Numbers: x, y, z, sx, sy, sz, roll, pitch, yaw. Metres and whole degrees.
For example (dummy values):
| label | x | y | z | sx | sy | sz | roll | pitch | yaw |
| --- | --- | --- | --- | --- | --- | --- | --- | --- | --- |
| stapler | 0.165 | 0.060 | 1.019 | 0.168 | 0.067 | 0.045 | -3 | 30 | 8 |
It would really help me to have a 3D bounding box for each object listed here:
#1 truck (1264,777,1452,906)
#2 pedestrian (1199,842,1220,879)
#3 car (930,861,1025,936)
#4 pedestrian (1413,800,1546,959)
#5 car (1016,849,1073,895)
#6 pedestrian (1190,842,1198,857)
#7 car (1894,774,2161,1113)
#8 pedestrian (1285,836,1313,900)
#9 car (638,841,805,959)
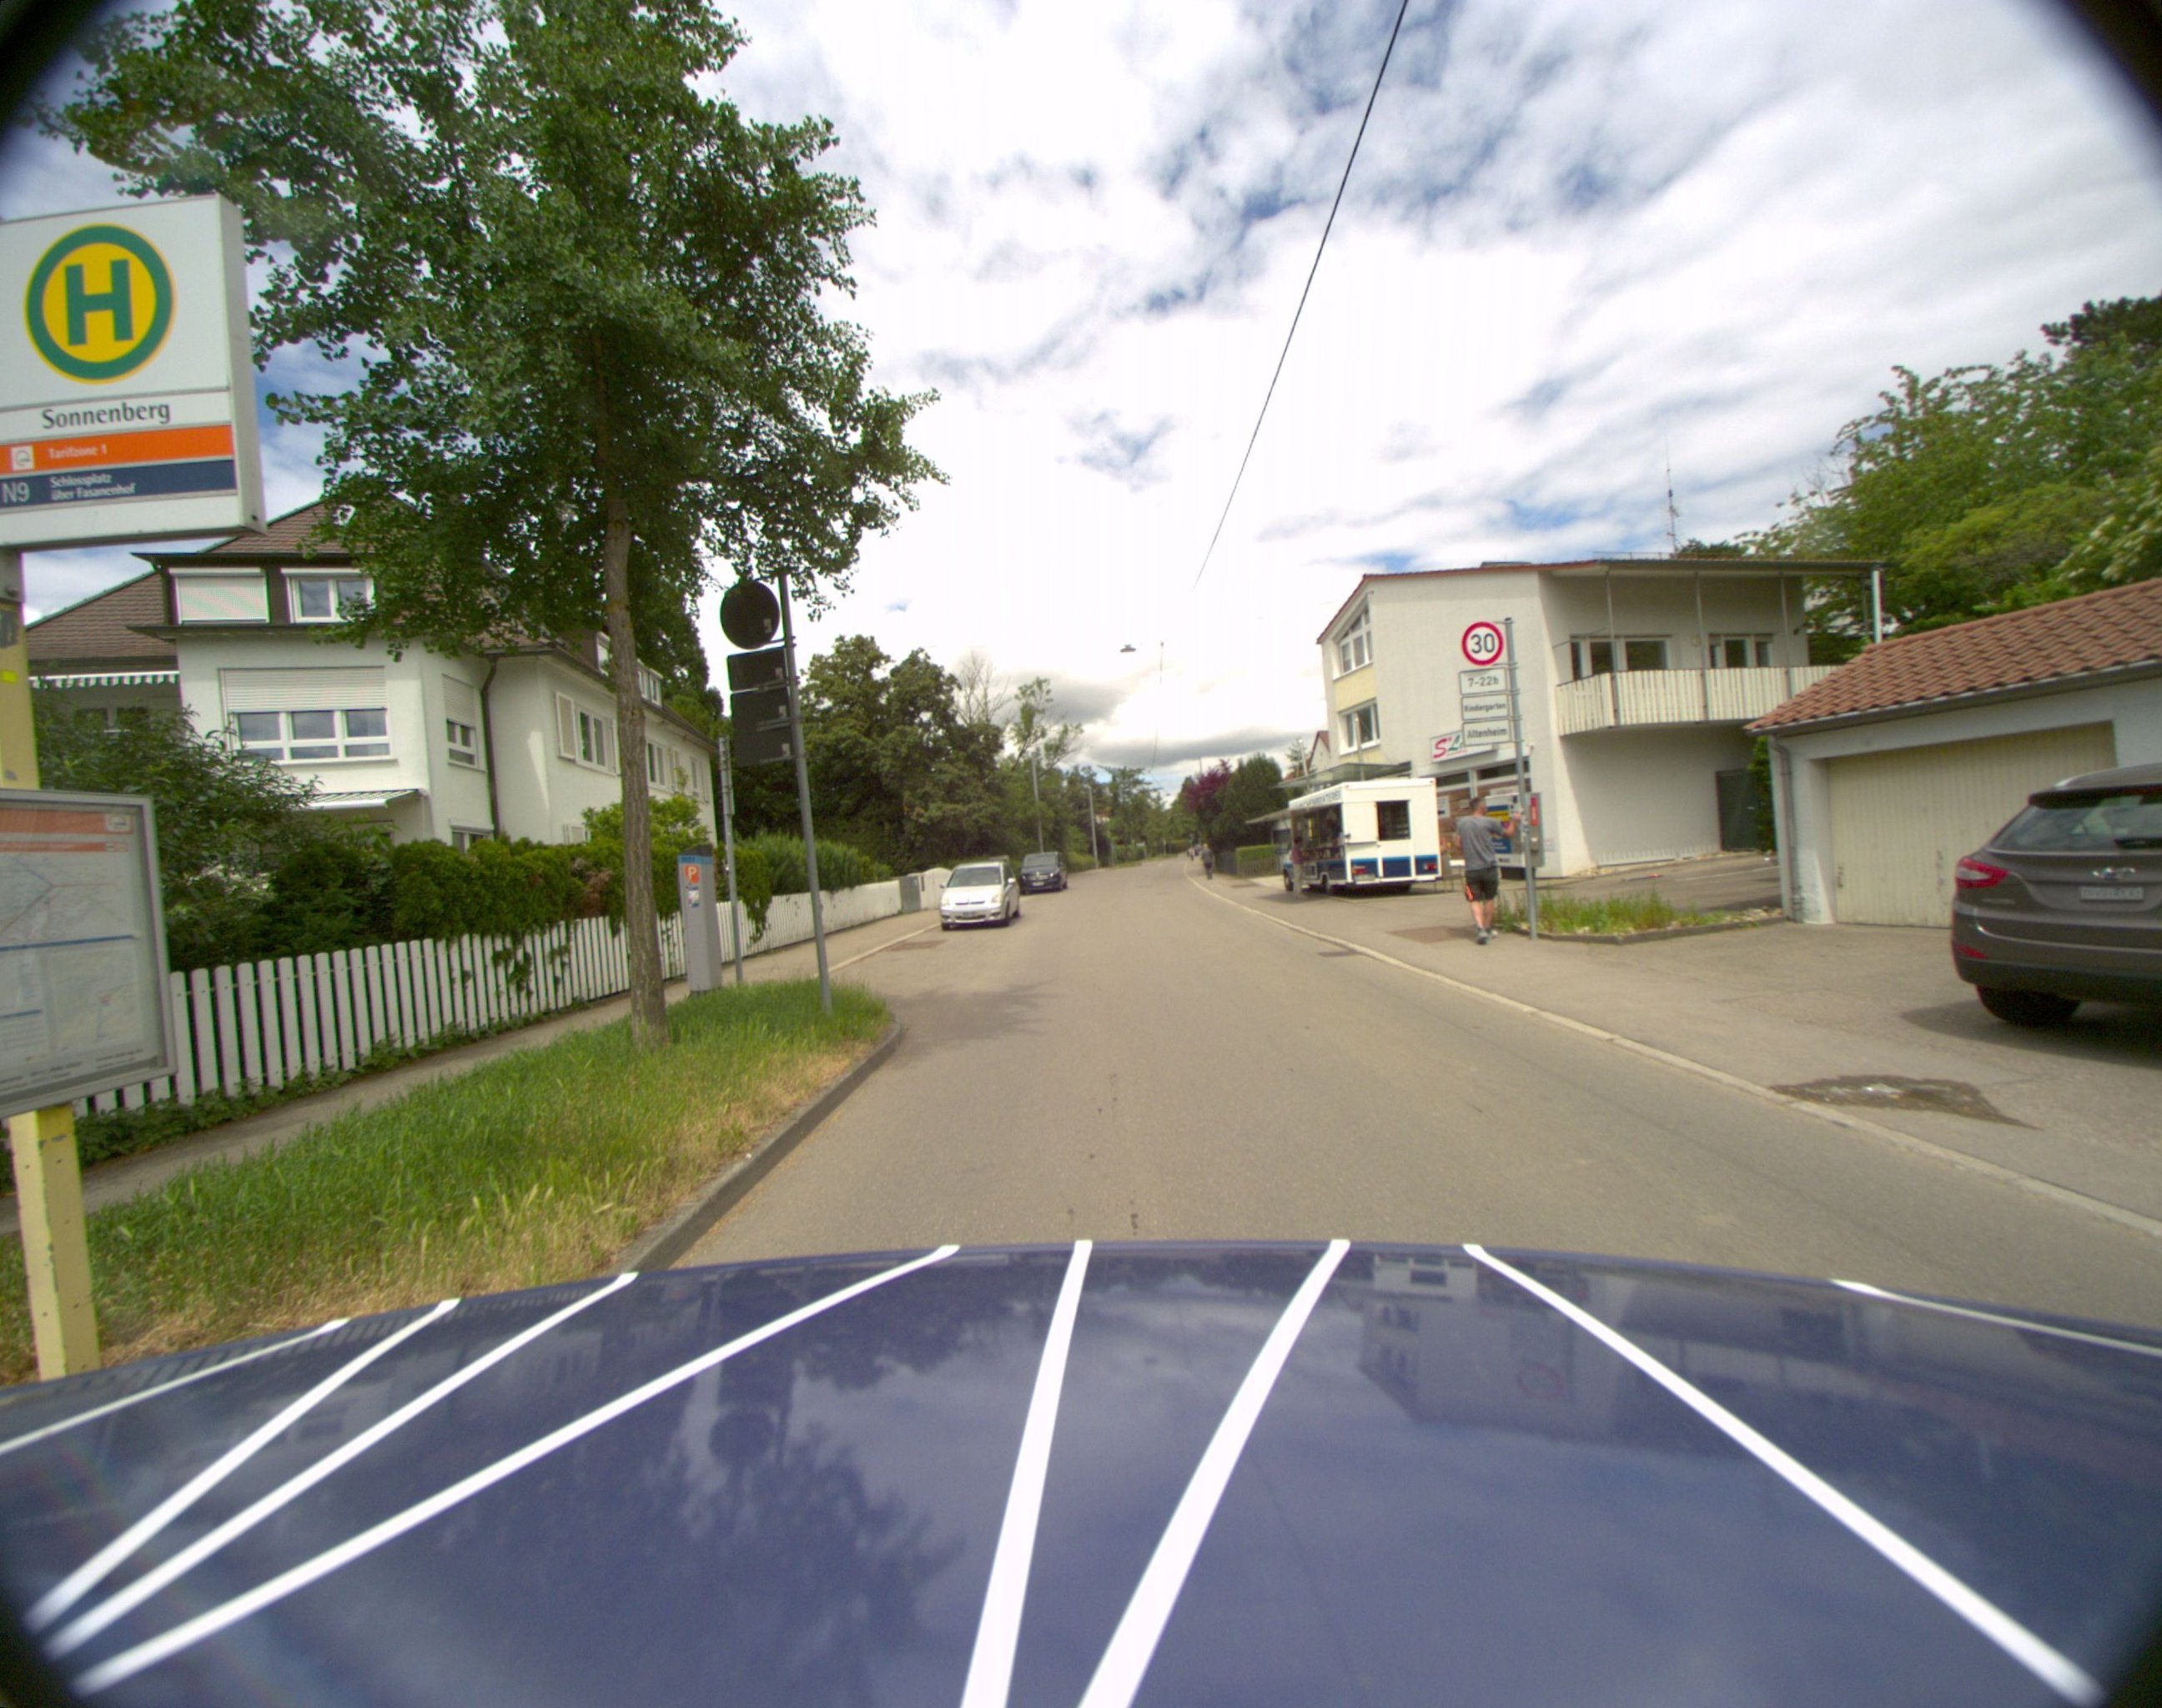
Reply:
| label | x | y | z | sx | sy | sz | roll | pitch | yaw |
| --- | --- | --- | --- | --- | --- | --- | --- | --- | --- |
| truck | 7.306 | -0.313 | 21.162 | 2.479 | 2.824 | 6.706 | -5 | 0 | -1 |
| pedestrian | 6.284 | 0.317 | 37.126 | 0.724 | 1.678 | 1.109 | -6 | 3 | 4 |
| car | -2.535 | 1.039 | 19.546 | 1.764 | 1.573 | 4.018 | -3 | 1 | 1 |
| pedestrian | 5.314 | 0.336 | 10.196 | 1.216 | 1.934 | 0.735 | -6 | 1 | 4 |
| car | -1.640 | 0.790 | 35.994 | 1.913 | 1.837 | 5.158 | -5 | 0 | 4 |
| pedestrian | 13.749 | -0.514 | 92.562 | 0.821 | 1.734 | 0.604 | -6 | 1 | 10 |
| car | 7.701 | 0.287 | 4.511 | 4.325 | 1.686 | 1.796 | -7 | 1 | -10 |
| pedestrian | 5.963 | 0.379 | 20.777 | 0.402 | 1.685 | 0.597 | -7 | 1 | -1 |
| car | -9.860 | 1.153 | 21.470 | 2.505 | 2.666 | 5.183 | -7 | 0 | -8 |
